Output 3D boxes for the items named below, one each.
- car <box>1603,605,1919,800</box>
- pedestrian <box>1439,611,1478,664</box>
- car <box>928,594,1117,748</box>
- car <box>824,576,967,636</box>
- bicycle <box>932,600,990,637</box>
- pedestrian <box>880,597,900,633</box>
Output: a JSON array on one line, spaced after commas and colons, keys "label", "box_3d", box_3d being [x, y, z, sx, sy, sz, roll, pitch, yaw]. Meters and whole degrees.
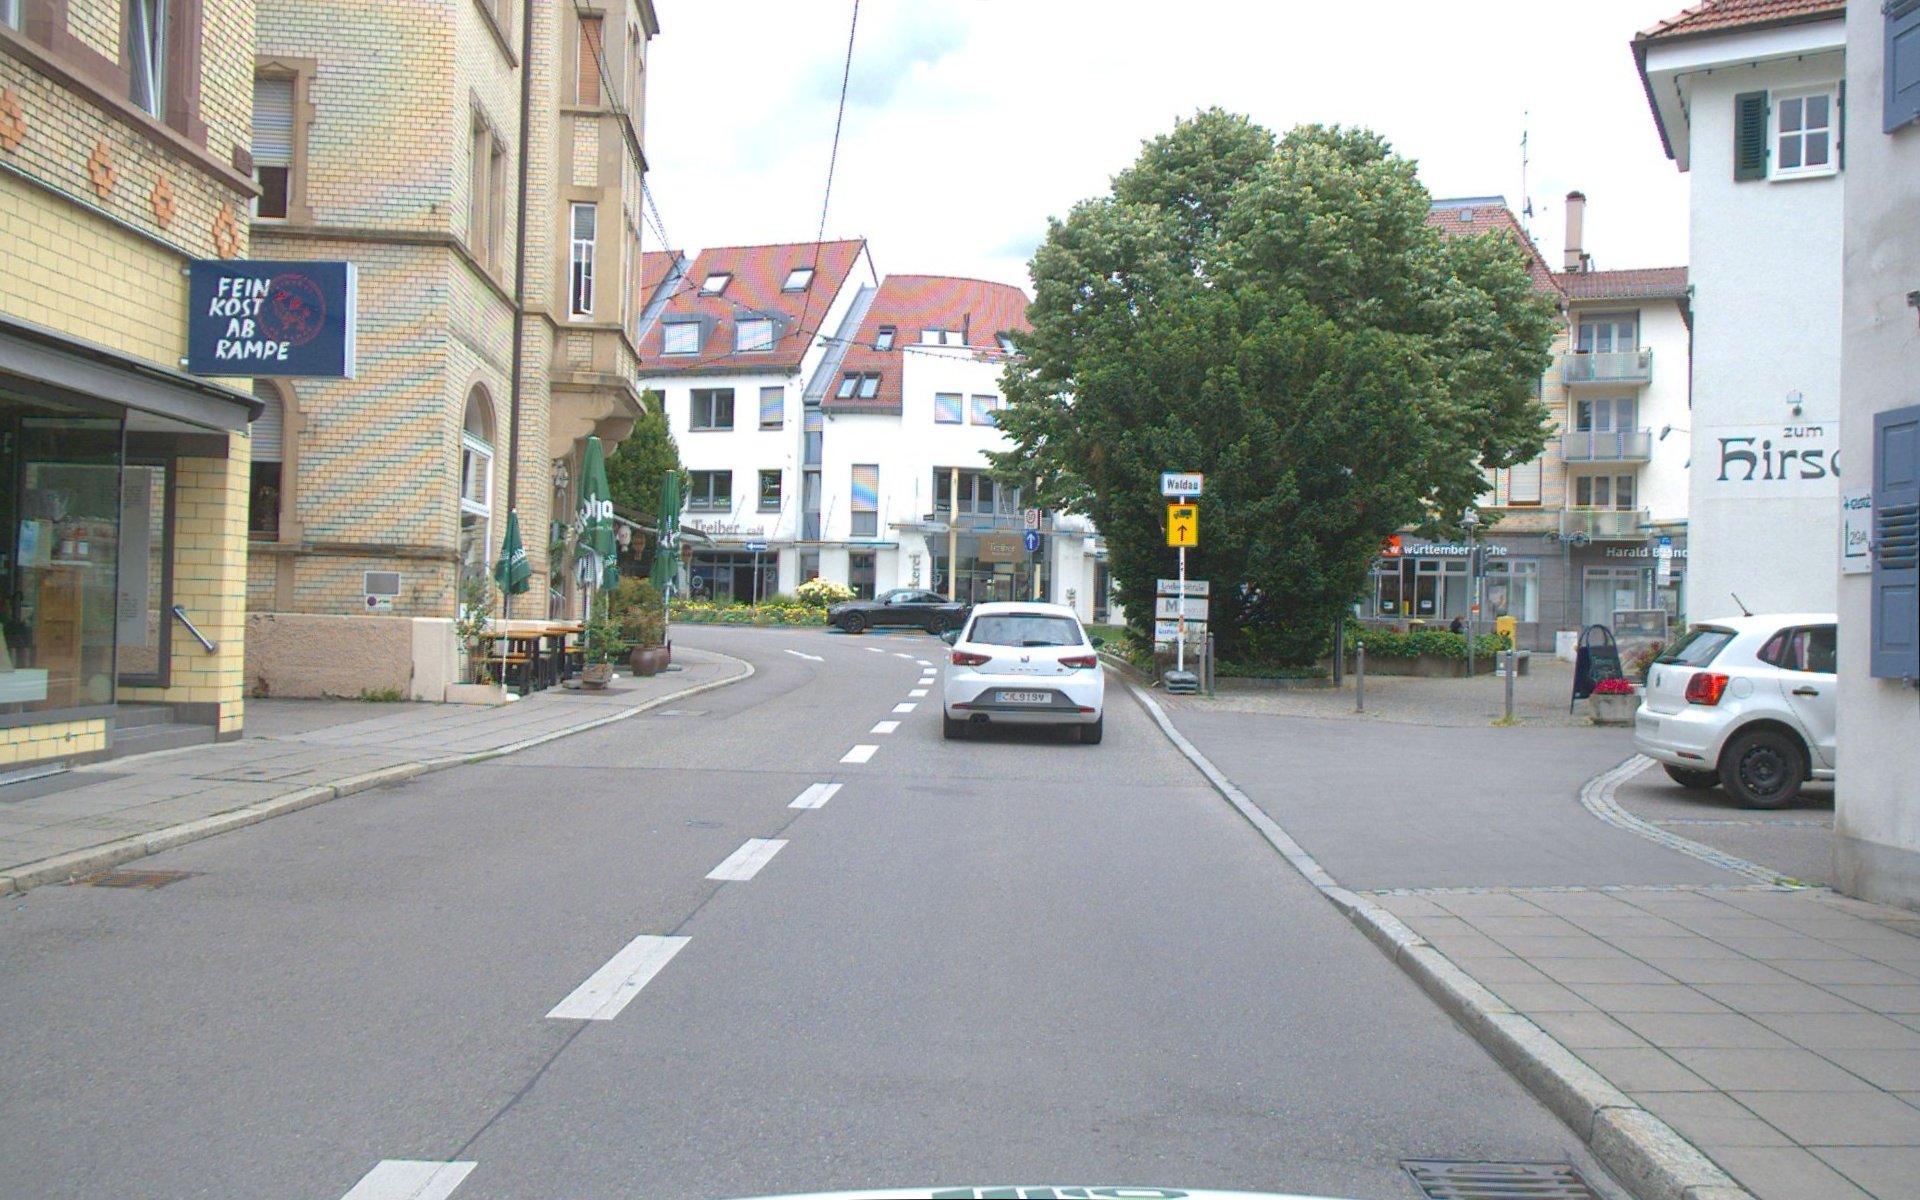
[{"label": "car", "box_3d": [7.454, 0.797, 13.450, 3.714, 1.443, 1.898, 1, 0, 0]}, {"label": "pedestrian", "box_3d": [13.573, 1.013, 45.056, 0.836, 1.404, 0.976, 2, 0, 7]}, {"label": "car", "box_3d": [0.815, 0.710, 18.810, 1.804, 1.459, 4.003, 2, 1, 7]}, {"label": "car", "box_3d": [-2.054, 0.176, 51.979, 4.277, 1.704, 2.038, 2, 0, -8]}, {"label": "bicycle", "box_3d": [0.051, 0.661, 60.025, 1.933, 1.261, 0.744, 2, 0, 19]}, {"label": "pedestrian", "box_3d": [-2.718, 0.581, 64.077, 0.641, 1.365, 0.696, 1, 0, 7]}]
